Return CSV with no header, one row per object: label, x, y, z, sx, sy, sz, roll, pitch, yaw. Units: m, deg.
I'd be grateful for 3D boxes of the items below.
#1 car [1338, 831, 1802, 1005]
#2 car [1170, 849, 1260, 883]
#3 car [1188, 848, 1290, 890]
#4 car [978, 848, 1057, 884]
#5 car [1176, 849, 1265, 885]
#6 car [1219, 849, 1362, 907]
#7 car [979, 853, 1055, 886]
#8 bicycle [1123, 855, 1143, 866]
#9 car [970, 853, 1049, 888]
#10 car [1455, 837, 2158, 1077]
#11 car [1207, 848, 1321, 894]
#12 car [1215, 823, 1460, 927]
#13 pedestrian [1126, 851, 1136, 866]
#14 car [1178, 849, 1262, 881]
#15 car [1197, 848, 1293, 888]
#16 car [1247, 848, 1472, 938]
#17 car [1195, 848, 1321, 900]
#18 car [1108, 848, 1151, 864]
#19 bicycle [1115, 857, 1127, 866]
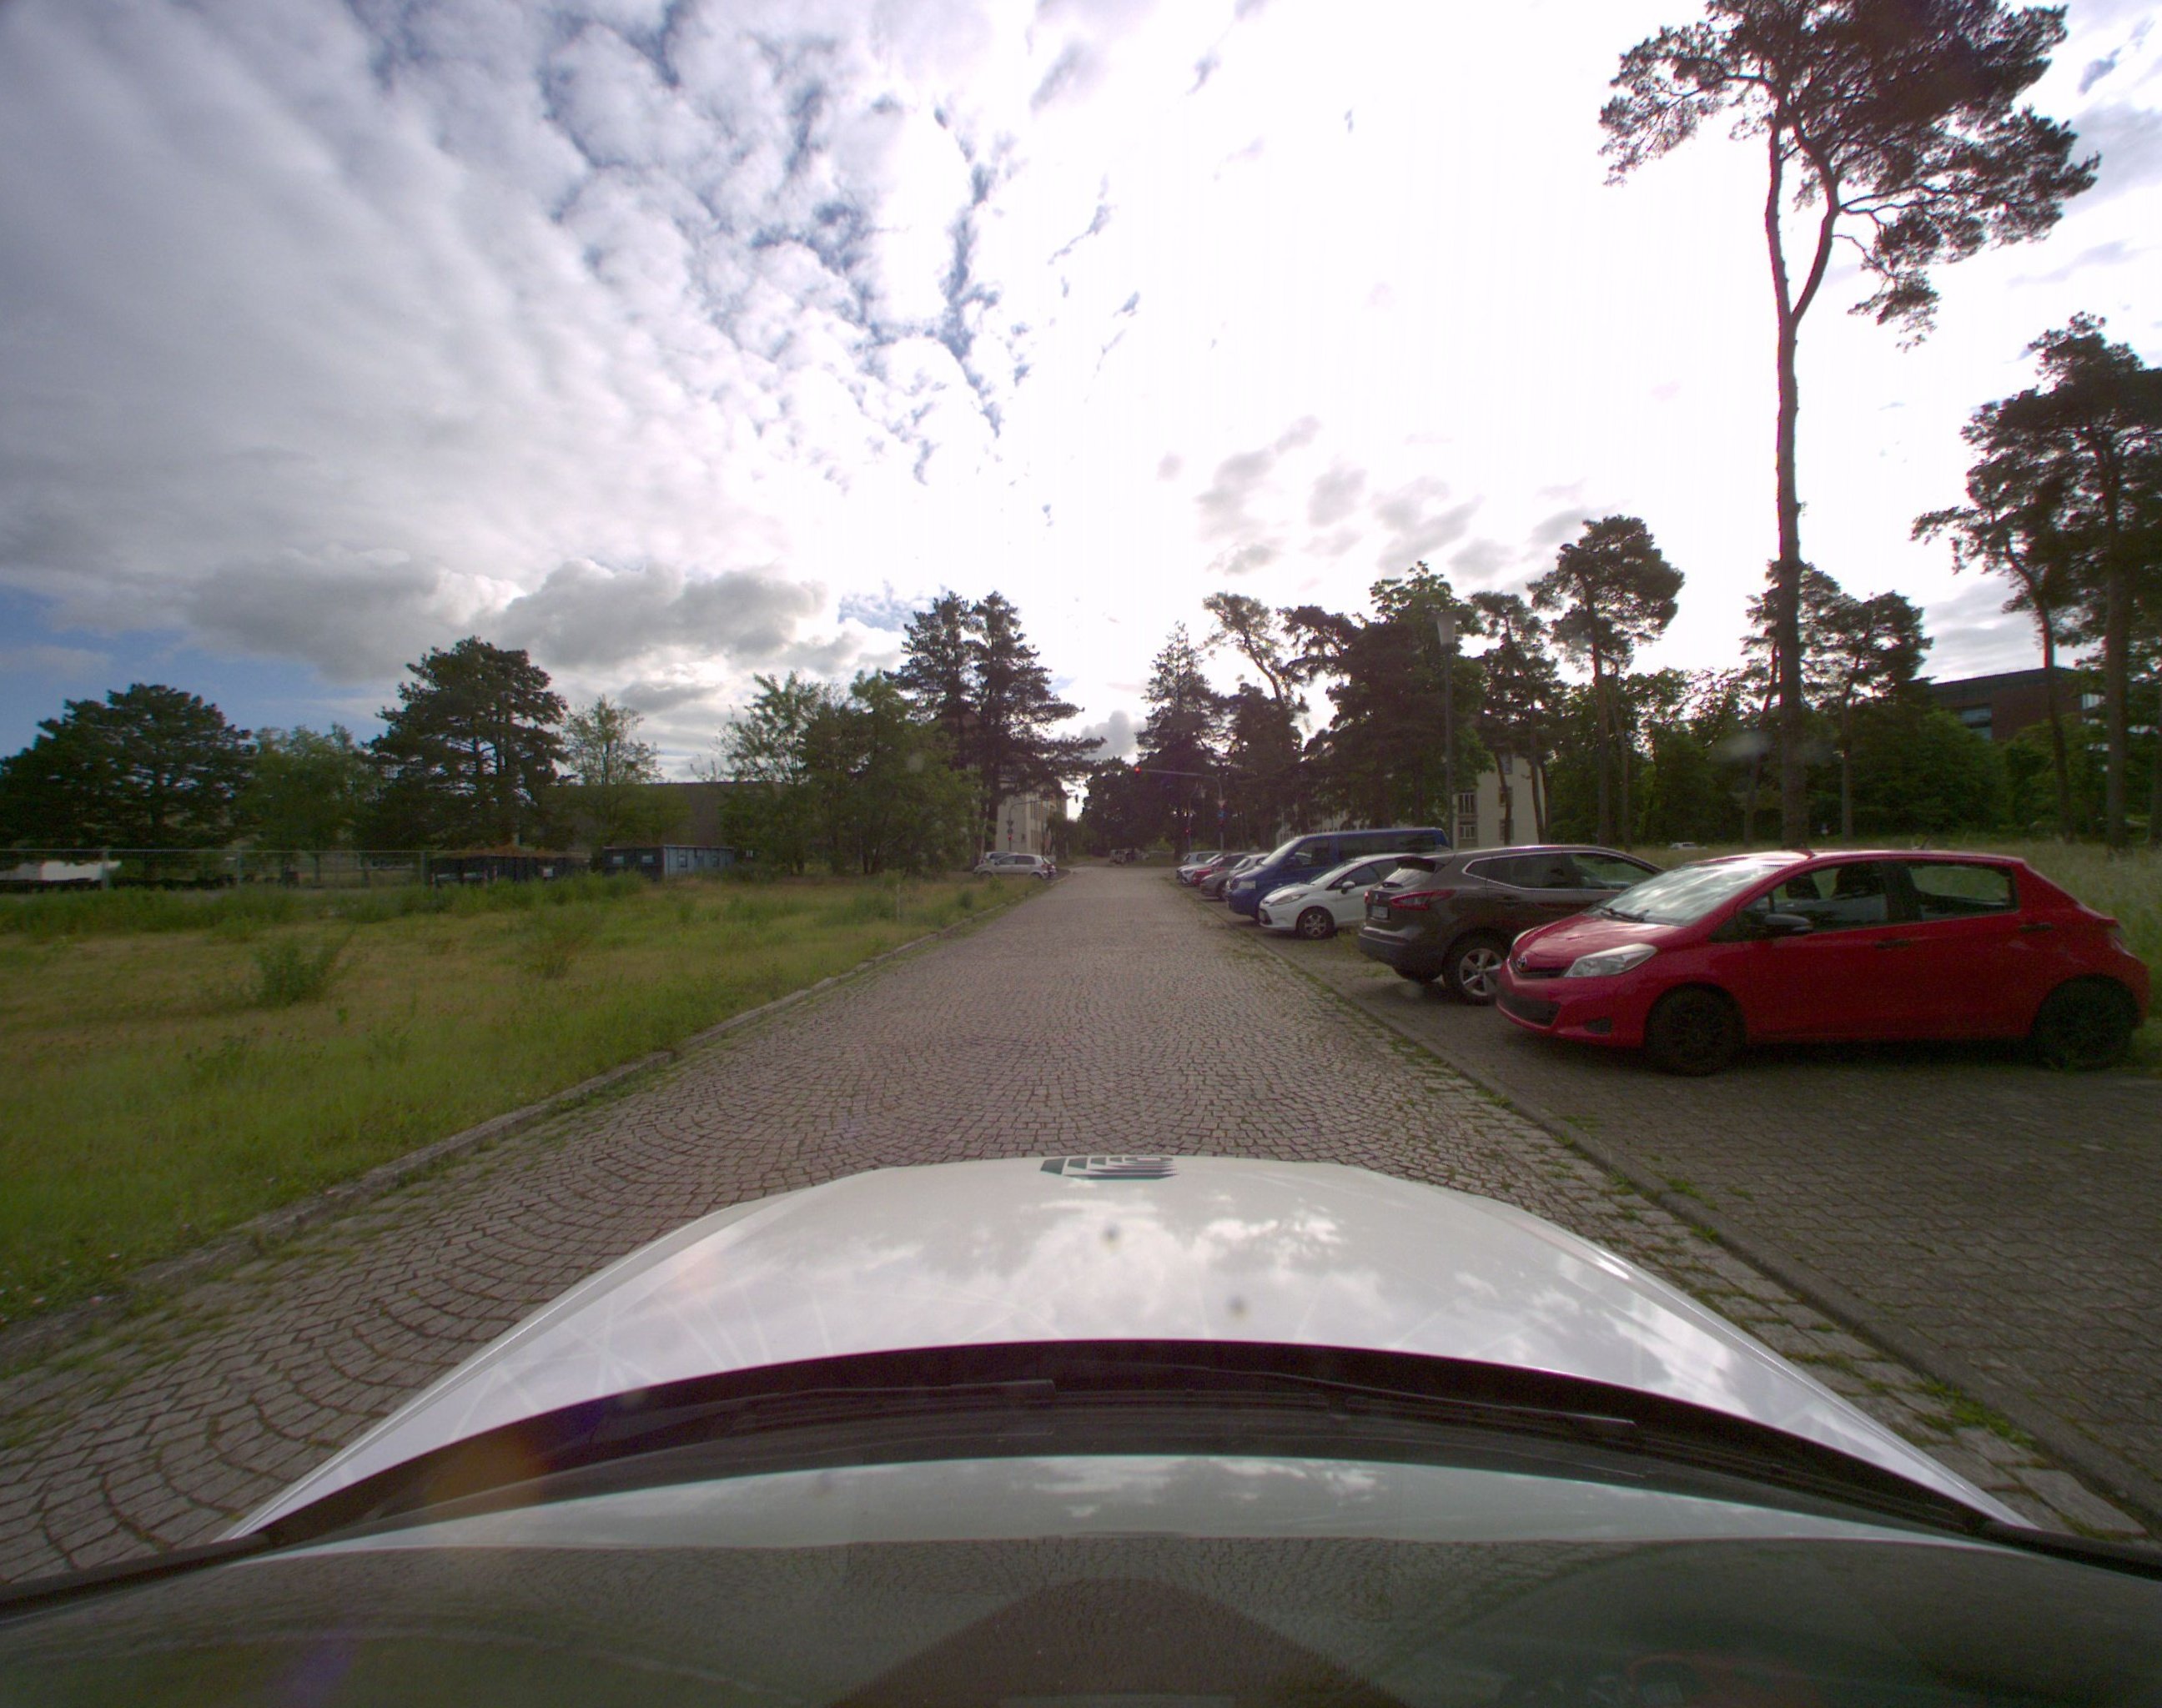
car,5.120,0.637,8.945,4.015,1.552,1.751,-2,0,0
car,6.387,0.581,39.053,3.957,1.421,1.619,-2,0,-2
car,6.097,0.580,31.661,3.659,1.449,1.524,-2,0,0
car,-3.600,0.672,46.424,4.246,1.840,1.744,-2,0,2
car,6.164,0.581,36.202,3.662,1.421,1.523,-2,0,-2
car,5.889,0.658,23.184,3.659,1.449,1.524,-2,0,0
car,-3.393,0.831,43.424,3.807,1.572,1.565,-2,0,2
bicycle,5.778,0.718,90.726,2.131,1.215,0.621,0,0,-2
car,-3.553,0.796,41.010,3.810,1.572,1.564,-2,0,-1
car,5.193,0.697,6.291,3.777,1.460,1.752,-2,0,2
car,6.443,0.596,28.938,3.659,1.449,1.524,-2,0,0
car,5.493,0.441,17.914,4.738,1.954,1.931,-2,0,0
pedestrian,5.594,0.514,91.077,1.031,1.614,0.757,0,0,-2
car,7.084,0.549,41.681,3.957,1.421,1.619,-2,0,-2
car,6.794,0.571,33.923,3.659,1.449,1.524,-2,0,0
car,5.129,0.701,15.330,3.660,1.449,1.614,-2,0,0
car,5.602,0.629,25.978,3.659,1.449,1.524,-2,0,0
car,6.410,0.285,108.639,5.440,2.013,2.263,0,0,-7
bicycle,4.283,0.828,86.707,0.623,0.945,1.649,0,0,-25
